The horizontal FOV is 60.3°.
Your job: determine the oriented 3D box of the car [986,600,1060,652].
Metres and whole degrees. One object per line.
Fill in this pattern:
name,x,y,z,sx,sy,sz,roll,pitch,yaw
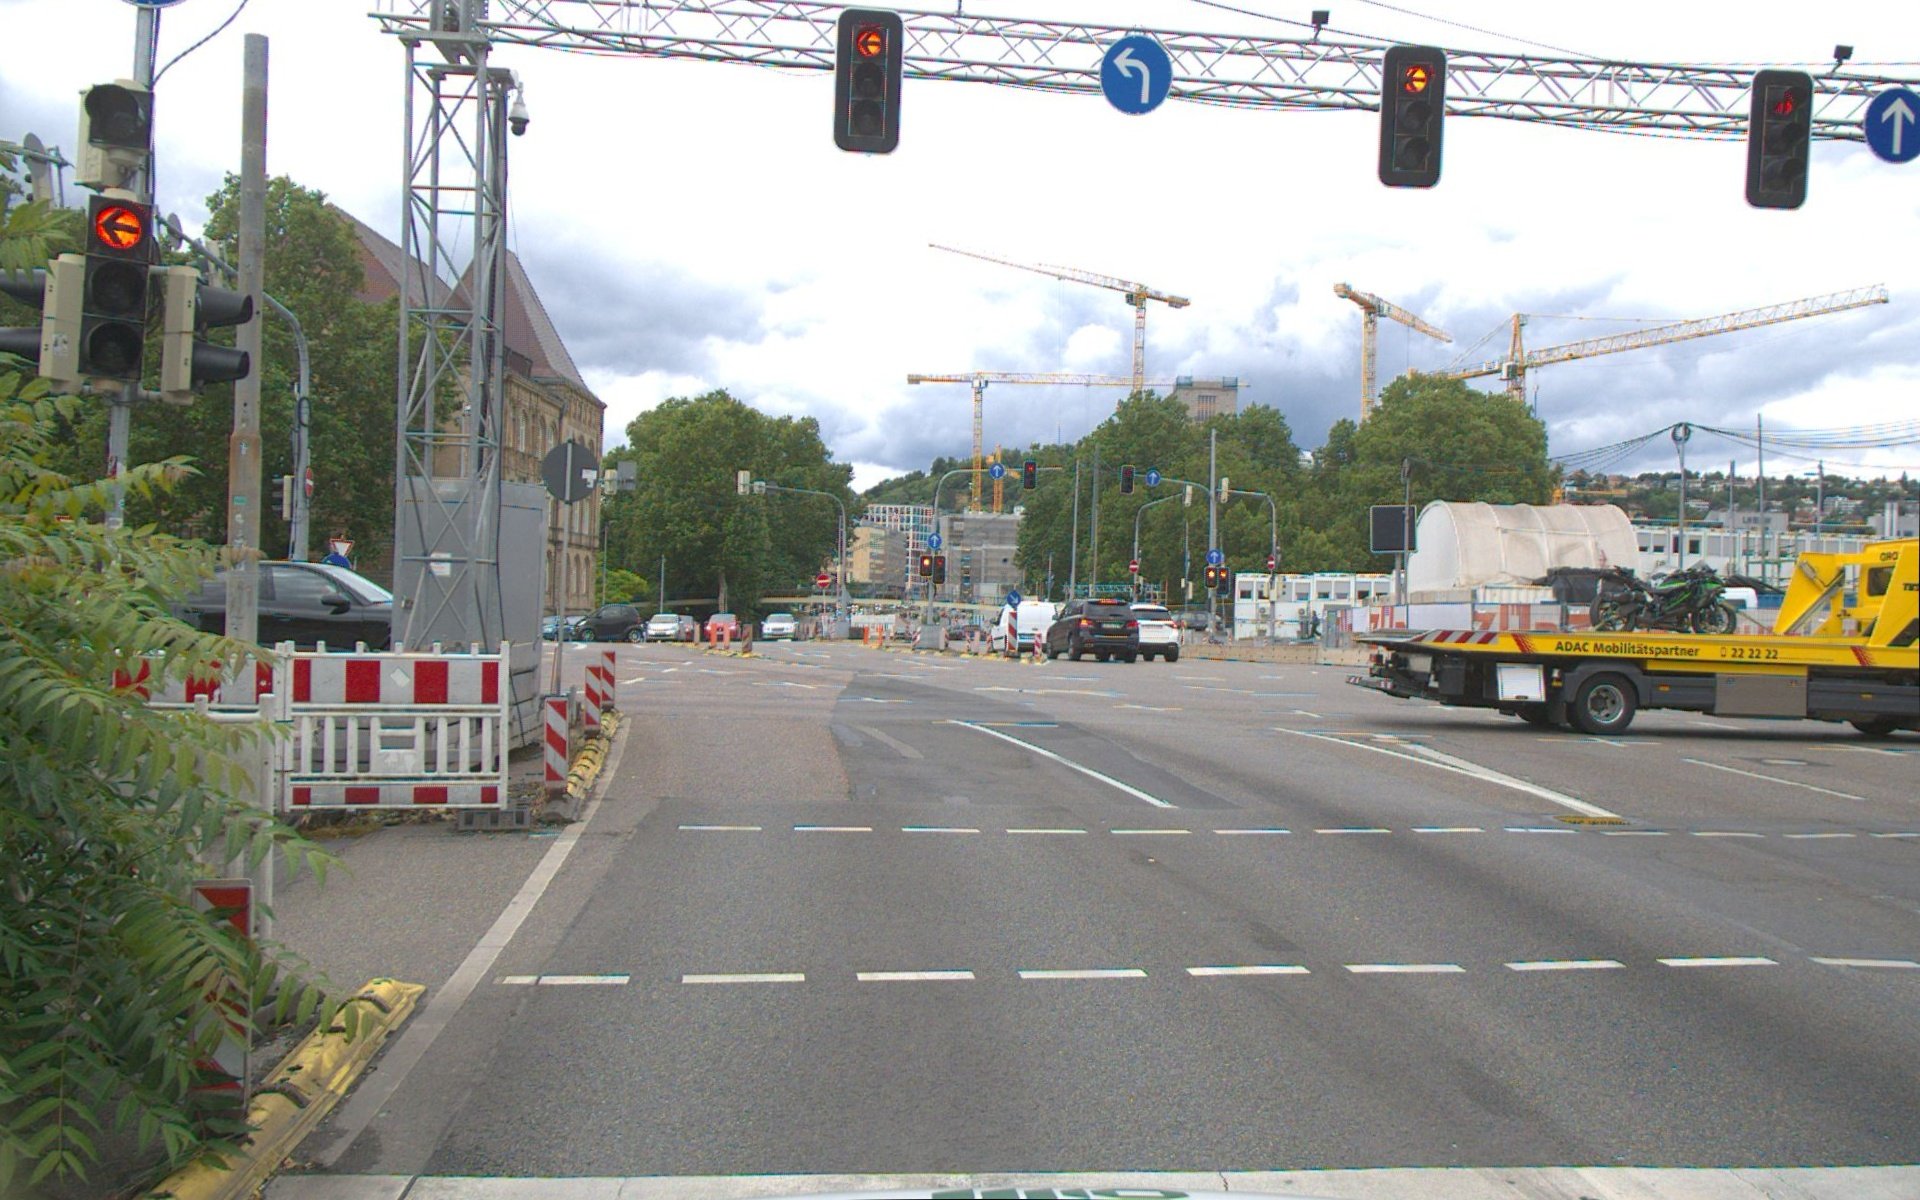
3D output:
car,2.079,0.848,55.542,1.783,1.653,3.993,1,0,-8

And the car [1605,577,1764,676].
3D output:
car,20.822,0.741,47.675,3.902,2.708,1.683,1,0,13

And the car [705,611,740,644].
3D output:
car,-12.128,1.380,84.508,1.644,1.608,3.677,1,0,-7

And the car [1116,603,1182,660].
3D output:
car,6.039,0.994,53.120,1.642,1.732,3.374,1,0,-1

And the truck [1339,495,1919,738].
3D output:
truck,9.749,0.233,21.887,8.802,2.852,2.625,1,0,-3

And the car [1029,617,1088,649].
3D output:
car,4.508,1.507,76.030,1.650,1.422,3.070,1,0,-19

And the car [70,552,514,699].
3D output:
car,-8.081,0.318,20.473,4.719,1.653,2.016,1,0,-10

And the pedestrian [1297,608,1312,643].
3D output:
pedestrian,17.570,1.292,84.336,0.519,1.778,0.465,1,0,-25

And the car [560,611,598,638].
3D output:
car,-21.286,1.350,92.566,1.644,1.422,3.677,1,0,-7

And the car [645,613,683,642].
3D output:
car,-15.260,1.422,85.369,1.644,1.422,3.677,1,0,-7

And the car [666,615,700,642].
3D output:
car,-15.301,1.551,91.528,1.644,1.422,3.677,1,0,-7

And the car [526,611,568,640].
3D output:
car,-21.482,1.318,86.133,1.644,1.422,3.677,1,0,-7

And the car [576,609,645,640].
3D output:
car,-13.863,0.959,65.697,2.642,1.162,1.354,1,0,-12

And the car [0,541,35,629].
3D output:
car,-33.905,-0.546,54.897,5.237,2.906,1.822,1,-1,-17

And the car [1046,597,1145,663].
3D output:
car,3.869,0.836,47.896,1.799,1.776,4.245,1,0,-10

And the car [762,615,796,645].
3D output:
car,-9.296,1.523,84.848,1.644,1.422,3.677,1,0,-7
